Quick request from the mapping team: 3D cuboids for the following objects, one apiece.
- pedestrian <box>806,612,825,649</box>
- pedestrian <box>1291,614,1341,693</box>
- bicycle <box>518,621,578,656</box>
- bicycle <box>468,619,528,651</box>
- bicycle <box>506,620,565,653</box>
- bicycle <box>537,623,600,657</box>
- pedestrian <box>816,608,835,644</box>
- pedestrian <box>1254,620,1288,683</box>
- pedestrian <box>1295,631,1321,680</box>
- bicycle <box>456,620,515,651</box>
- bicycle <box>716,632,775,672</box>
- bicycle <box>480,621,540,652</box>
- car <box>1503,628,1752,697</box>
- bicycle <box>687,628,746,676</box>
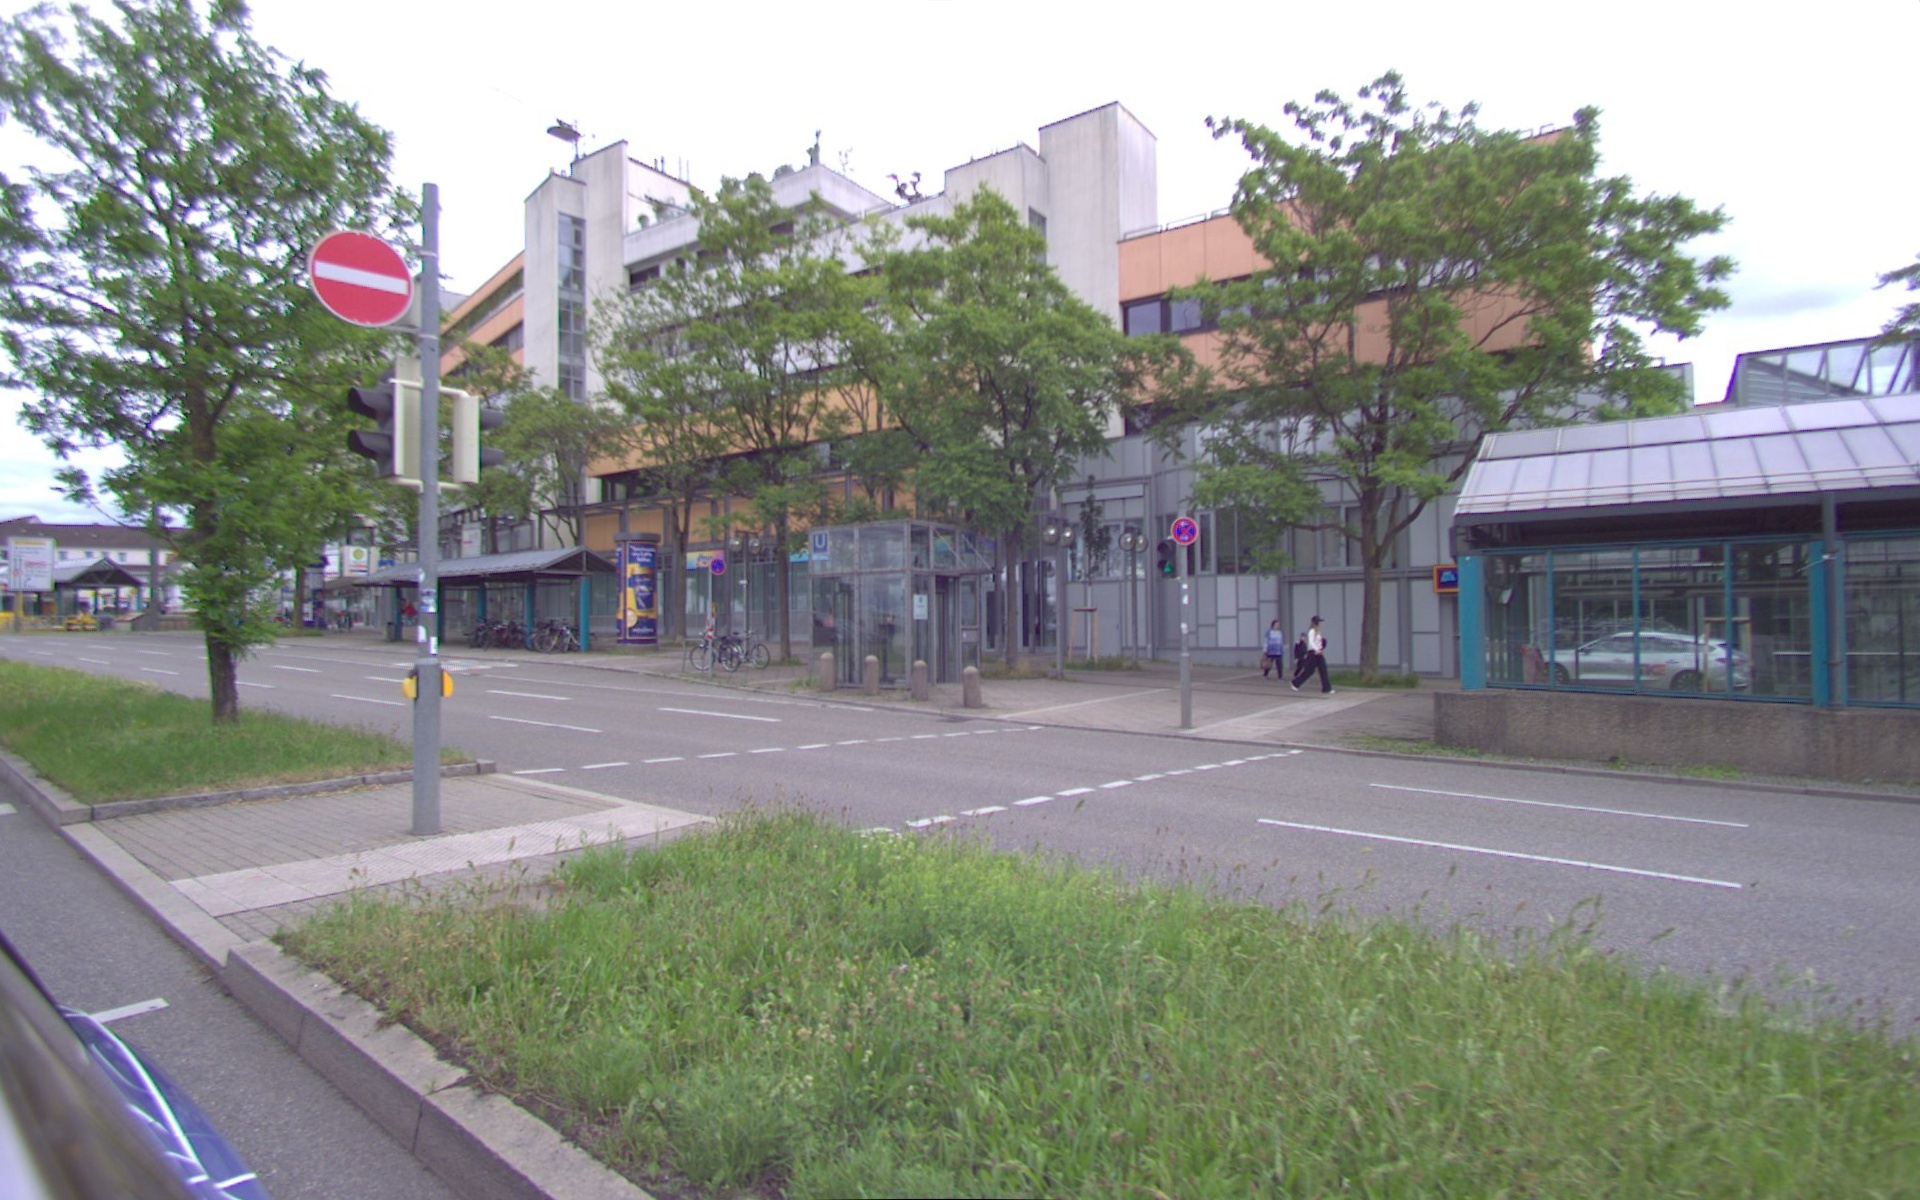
[{"bbox_3d":[-5.639,1.193,39.398,0.580,1.443,0.456,0,-2,41],"label":"pedestrian"},{"bbox_3d":[7.857,1.166,22.336,0.827,1.692,0.769,0,-2,41],"label":"pedestrian"},{"bbox_3d":[-14.816,1.370,36.431,0.541,1.147,2.047,0,0,34],"label":"bicycle"},{"bbox_3d":[-17.551,1.320,38.454,0.542,1.147,2.043,0,0,39],"label":"bicycle"},{"bbox_3d":[-15.549,1.326,37.111,0.541,1.098,2.047,0,0,34],"label":"bicycle"},{"bbox_3d":[-13.903,1.409,35.979,0.541,1.098,2.181,0,0,34],"label":"bicycle"},{"bbox_3d":[-5.306,1.022,39.951,0.580,1.443,0.456,0,-2,41],"label":"pedestrian"},{"bbox_3d":[7.920,1.297,25.773,0.638,1.558,0.679,0,-2,39],"label":"pedestrian"},{"bbox_3d":[8.699,1.387,25.280,0.514,1.201,0.378,0,-2,42],"label":"pedestrian"},{"bbox_3d":[-18.273,1.349,39.017,0.542,1.098,2.043,0,0,39],"label":"bicycle"},{"bbox_3d":[-6.059,1.450,28.495,2.049,1.034,0.514,-1,0,41],"label":"bicycle"},{"bbox_3d":[-16.798,1.352,37.798,0.542,1.098,2.043,0,0,39],"label":"bicycle"},{"bbox_3d":[15.620,1.391,23.863,4.719,1.411,1.671,0,-1,42],"label":"car"},{"bbox_3d":[-6.597,1.378,27.404,1.948,1.234,0.514,-1,0,41],"label":"bicycle"}]
